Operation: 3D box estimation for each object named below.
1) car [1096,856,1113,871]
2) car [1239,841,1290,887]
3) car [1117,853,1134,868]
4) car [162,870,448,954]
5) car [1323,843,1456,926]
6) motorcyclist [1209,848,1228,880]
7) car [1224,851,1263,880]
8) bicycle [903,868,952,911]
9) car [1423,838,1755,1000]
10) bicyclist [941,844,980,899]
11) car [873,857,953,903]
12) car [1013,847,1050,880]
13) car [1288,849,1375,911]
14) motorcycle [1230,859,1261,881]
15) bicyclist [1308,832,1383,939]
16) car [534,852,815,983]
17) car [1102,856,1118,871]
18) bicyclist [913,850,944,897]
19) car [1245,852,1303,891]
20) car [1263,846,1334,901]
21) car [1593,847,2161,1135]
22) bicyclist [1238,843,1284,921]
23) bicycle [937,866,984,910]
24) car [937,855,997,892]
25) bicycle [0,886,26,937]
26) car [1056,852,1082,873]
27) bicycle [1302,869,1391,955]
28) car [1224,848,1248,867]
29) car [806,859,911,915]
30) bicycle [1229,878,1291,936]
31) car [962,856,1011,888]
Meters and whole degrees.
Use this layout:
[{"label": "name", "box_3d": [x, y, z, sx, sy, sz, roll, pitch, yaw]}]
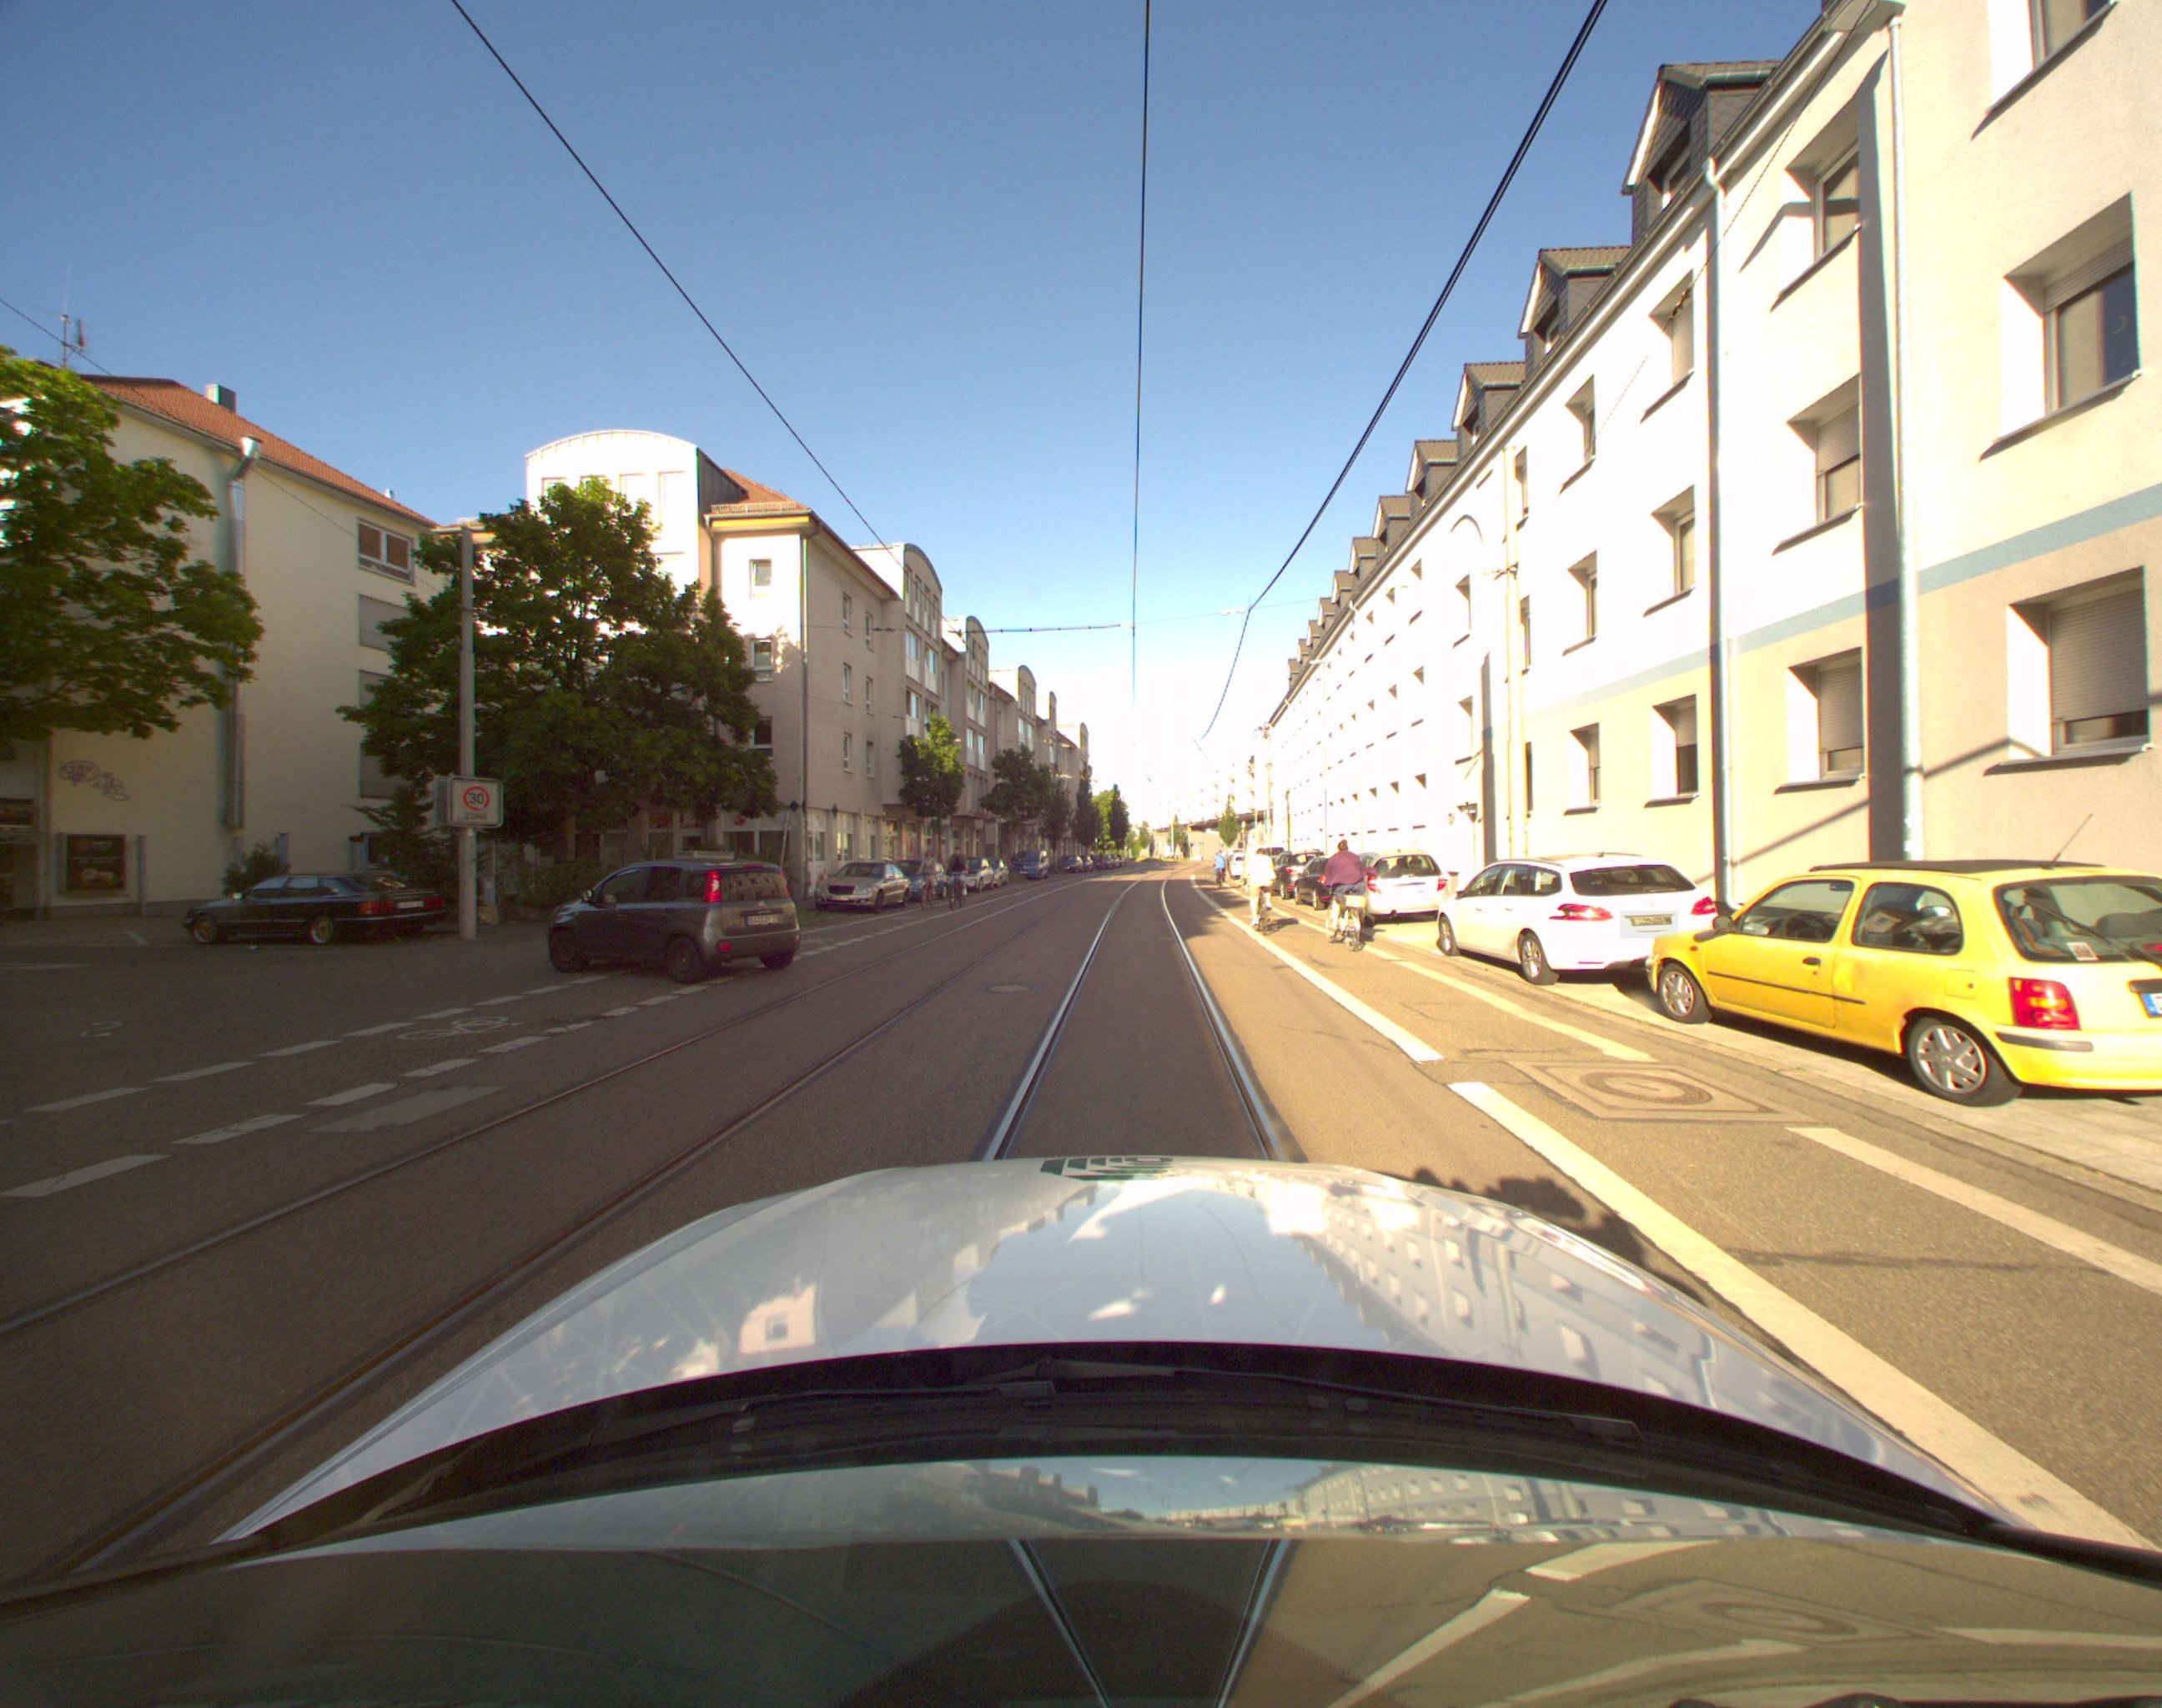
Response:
[{"label": "car", "box_3d": [2.531, 1.032, 86.336, 1.584, 1.540, 3.195, -1, 0, 5]}, {"label": "car", "box_3d": [8.563, 0.445, 38.285, 1.778, 1.970, 4.161, -2, 0, 5]}, {"label": "car", "box_3d": [5.252, 0.761, 96.400, 1.835, 1.646, 3.703, -1, 0, 5]}, {"label": "car", "box_3d": [-15.549, 1.139, 16.401, 4.528, 1.388, 1.718, -3, -1, 9]}, {"label": "car", "box_3d": [6.803, 0.608, 18.370, 1.746, 1.571, 3.910, -4, 0, 5]}, {"label": "motorcyclist", "box_3d": [6.147, 0.442, 36.447, 0.724, 1.405, 1.021, -1, 0, 3]}, {"label": "car", "box_3d": [9.890, 0.684, 49.749, 1.835, 1.646, 4.555, -1, 0, 5]}, {"label": "bicycle", "box_3d": [-4.670, 1.069, 25.007, 0.835, 1.149, 2.235, -5, 0, 4]}, {"label": "car", "box_3d": [6.073, 0.657, 10.491, 1.672, 1.571, 4.515, -2, 0, 4]}, {"label": "bicyclist", "box_3d": [-3.619, 0.519, 24.442, 0.878, 1.561, 0.869, -4, 0, 4]}, {"label": "car", "box_3d": [-6.139, 0.907, 30.214, 1.821, 1.489, 4.004, -3, 0, 4]}, {"label": "car", "box_3d": [-3.134, 0.564, 52.297, 1.656, 1.986, 4.350, -1, 0, 6]}, {"label": "car", "box_3d": [7.096, 0.685, 23.412, 1.583, 1.537, 4.014, -3, 0, 6]}, {"label": "motorcycle", "box_3d": [8.867, 0.845, 43.879, 0.494, 1.144, 1.752, 0, 0, -35]}, {"label": "bicyclist", "box_3d": [4.308, 0.498, 13.330, 0.930, 1.676, 0.970, -1, 0, 3]}, {"label": "car", "box_3d": [-5.466, 0.772, 10.937, 3.443, 1.533, 1.571, -1, -1, 26]}, {"label": "car", "box_3d": [3.267, 1.051, 90.413, 1.584, 1.540, 3.195, -1, 0, 5]}, {"label": "bicyclist", "box_3d": [-4.678, 0.584, 25.042, 0.620, 1.380, 0.869, -5, 0, 4]}, {"label": "car", "box_3d": [7.850, 0.668, 33.377, 1.787, 1.483, 3.784, -1, 0, 5]}, {"label": "car", "box_3d": [7.549, 0.631, 28.549, 1.652, 1.669, 3.909, -4, 0, 5]}, {"label": "car", "box_3d": [5.901, 0.703, 6.234, 1.507, 1.431, 4.205, -2, 0, 4]}, {"label": "bicyclist", "box_3d": [3.520, 0.534, 15.982, 0.724, 1.462, 1.021, -1, 0, 3]}, {"label": "bicycle", "box_3d": [-3.597, 1.001, 24.489, 0.835, 1.149, 2.235, -5, 0, 4]}, {"label": "car", "box_3d": [-5.294, 0.877, 38.258, 1.820, 1.593, 4.007, -1, 0, 6]}, {"label": "bicycle", "box_3d": [-25.911, 1.414, 18.760, 0.723, 1.165, 1.982, -1, 2, -7]}, {"label": "car", "box_3d": [-0.961, 0.689, 67.349, 1.656, 1.618, 4.007, -1, 0, 6]}, {"label": "bicycle", "box_3d": [4.349, 0.901, 13.563, 0.817, 1.236, 2.464, 1, 0, 3]}, {"label": "car", "box_3d": [14.792, 0.348, 77.788, 1.835, 1.756, 4.555, -1, 0, 5]}, {"label": "car", "box_3d": [-6.508, 0.905, 24.238, 1.736, 1.443, 4.004, 1, 0, 4]}, {"label": "bicycle", "box_3d": [3.507, 1.008, 16.208, 0.735, 0.924, 2.839, 2, 0, 3]}, {"label": "car", "box_3d": [-4.901, 0.908, 42.909, 1.821, 1.593, 4.004, -1, 0, 4]}]
